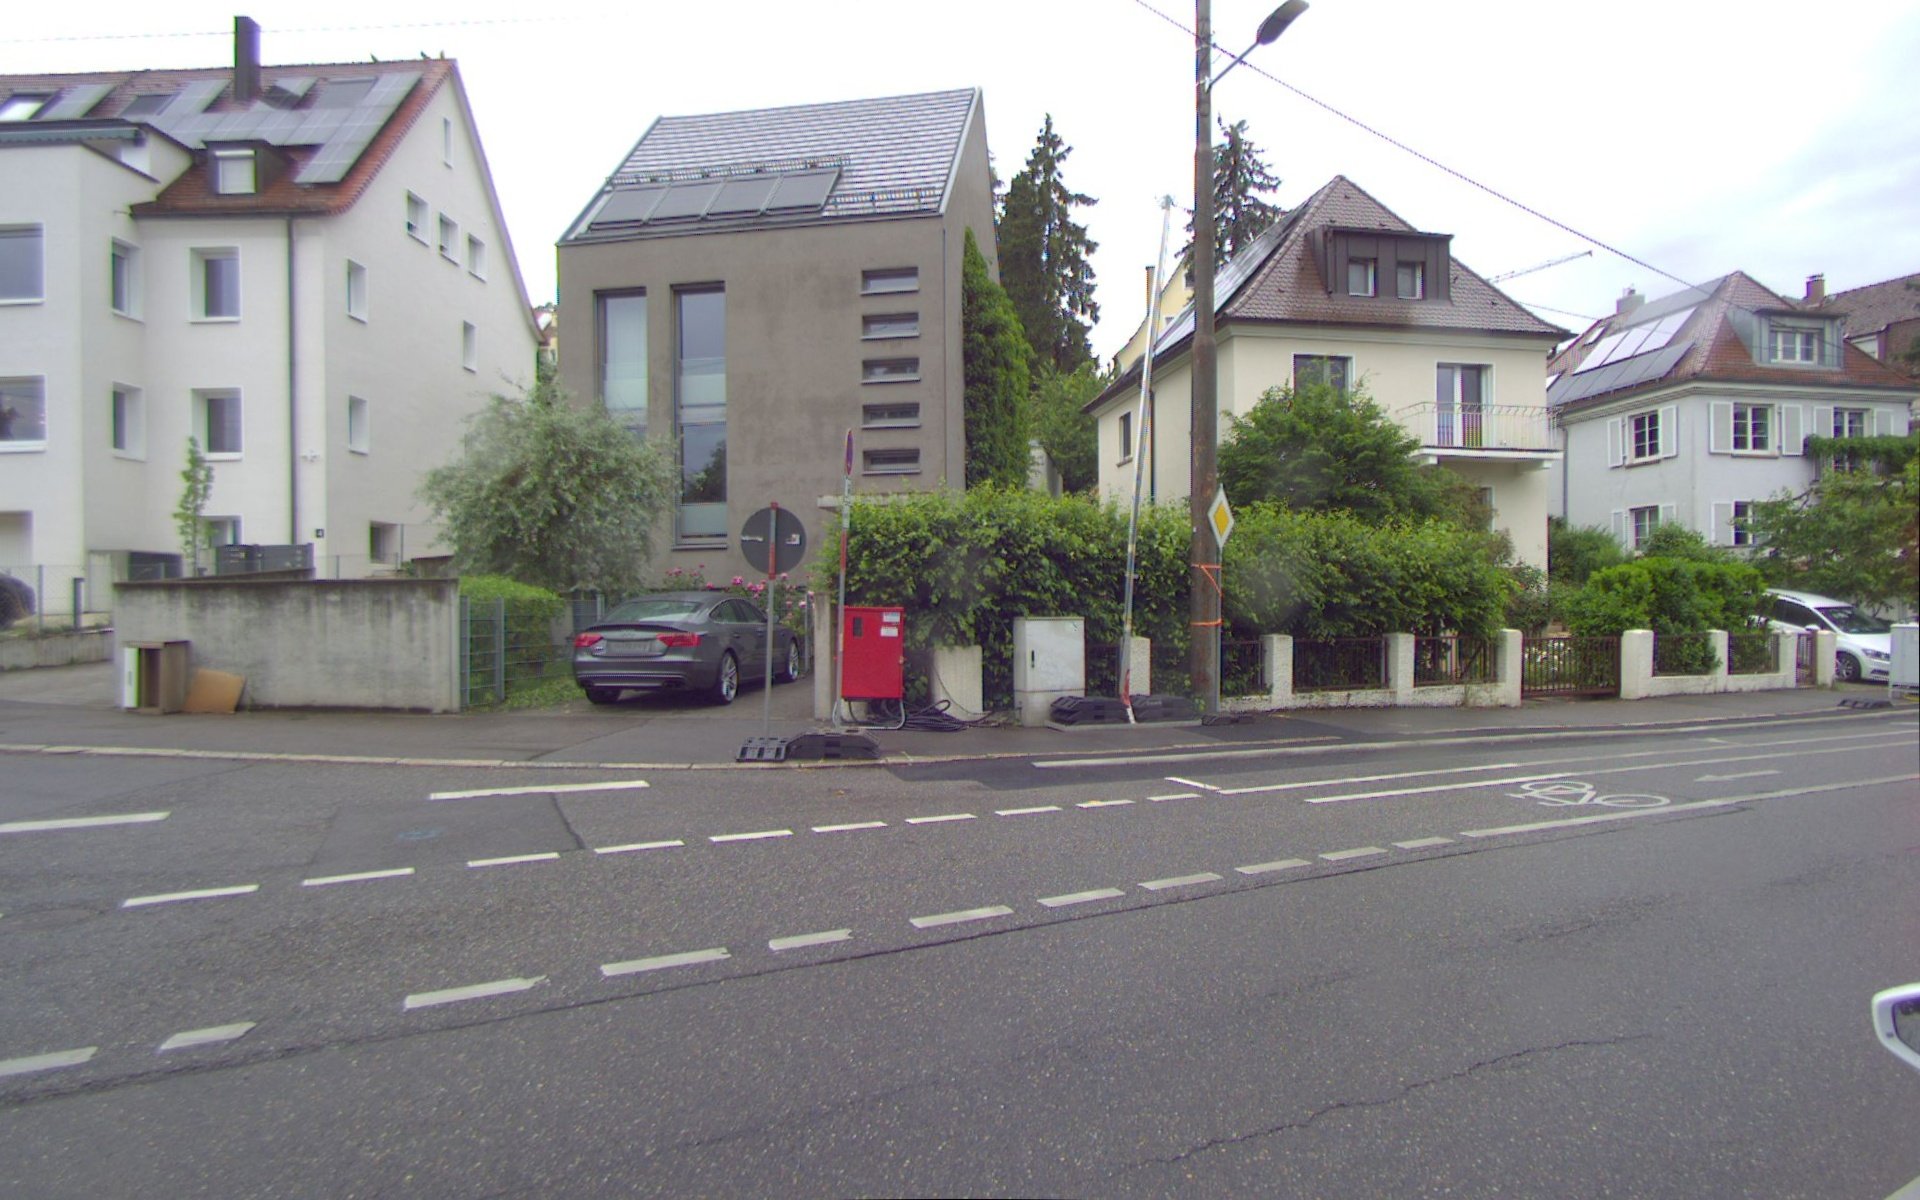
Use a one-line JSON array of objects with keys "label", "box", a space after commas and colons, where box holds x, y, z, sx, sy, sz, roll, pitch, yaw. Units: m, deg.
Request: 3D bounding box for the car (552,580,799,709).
[{"label": "car", "box": [-3.613, 0.517, 13.578, 1.802, 1.463, 4.002, 0, 0, 7]}]

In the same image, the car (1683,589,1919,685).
[{"label": "car", "box": [19.611, 0.817, 23.583, 1.801, 2.040, 3.984, 1, 0, -18]}]

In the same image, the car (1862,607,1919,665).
[{"label": "car", "box": [26.524, 1.026, 26.277, 1.733, 1.505, 3.983, 3, 0, -19]}]

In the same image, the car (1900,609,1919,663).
[{"label": "car", "box": [28.440, 1.097, 27.197, 1.733, 1.505, 3.983, 3, 0, -19]}]

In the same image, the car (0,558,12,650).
[{"label": "car", "box": [-16.899, 0.040, 15.029, 1.700, 1.528, 3.820, 1, 0, 3]}]
